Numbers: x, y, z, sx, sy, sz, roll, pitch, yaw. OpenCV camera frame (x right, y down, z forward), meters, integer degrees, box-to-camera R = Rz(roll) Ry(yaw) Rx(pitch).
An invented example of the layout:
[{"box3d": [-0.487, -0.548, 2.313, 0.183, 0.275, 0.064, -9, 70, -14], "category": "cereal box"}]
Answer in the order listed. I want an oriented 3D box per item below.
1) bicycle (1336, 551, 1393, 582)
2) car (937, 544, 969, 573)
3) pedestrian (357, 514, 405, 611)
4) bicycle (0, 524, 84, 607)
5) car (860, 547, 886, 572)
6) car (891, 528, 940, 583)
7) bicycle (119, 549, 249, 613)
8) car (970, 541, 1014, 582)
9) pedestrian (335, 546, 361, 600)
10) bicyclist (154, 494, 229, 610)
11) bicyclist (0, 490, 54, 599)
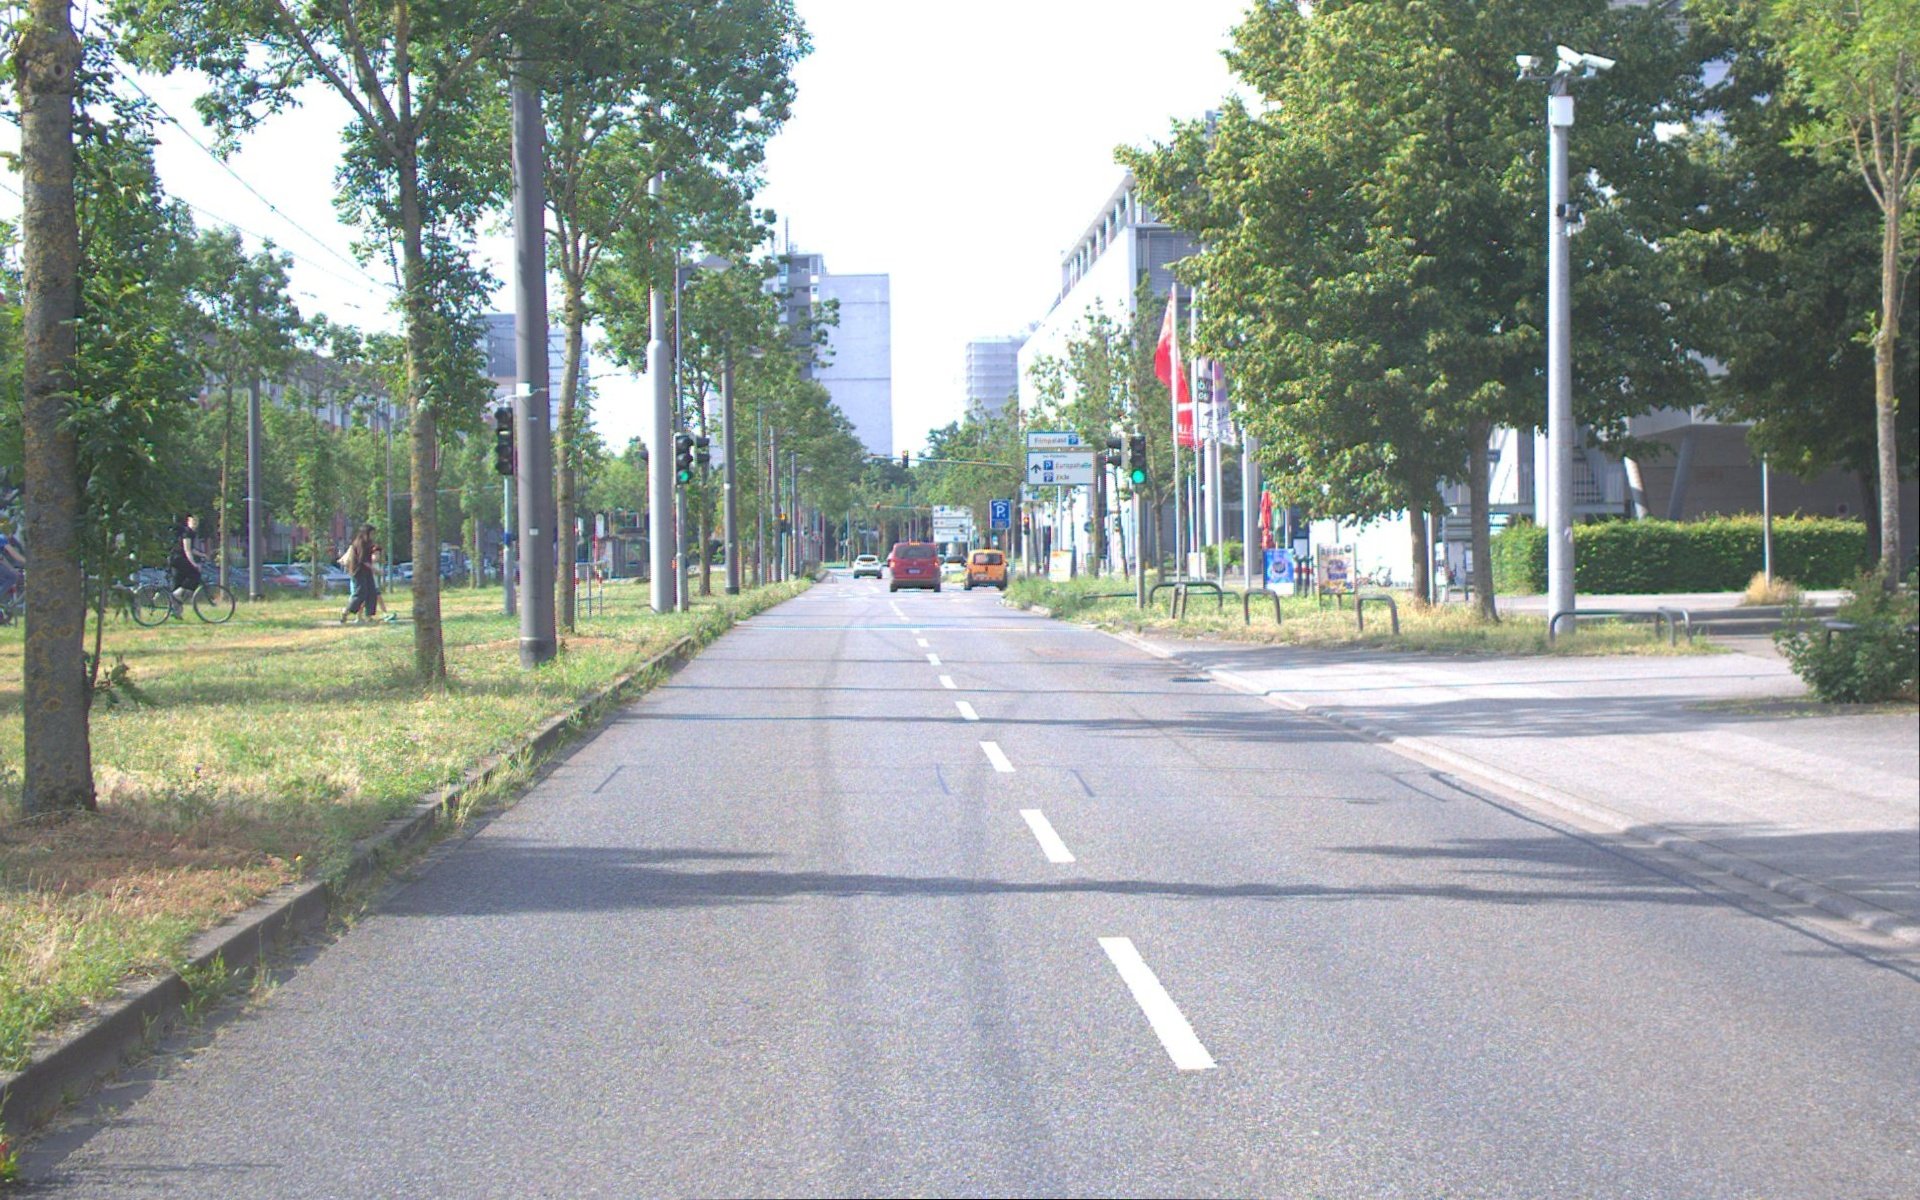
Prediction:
[{"box3d": [12.385, -1.031, 105.267, 1.621, 0.885, 0.551, 1, 1, -3], "category": "bicycle"}, {"box3d": [-0.411, -2.391, 198.250, 1.748, 1.645, 3.216, 2, 1, -1], "category": "car"}, {"box3d": [-9.466, -0.618, 56.218, 0.625, 1.566, 0.711, 1, 1, -1], "category": "pedestrian"}, {"box3d": [-15.512, -0.577, 56.316, 2.066, 1.319, 0.784, 1, 1, -34], "category": "bicycle"}, {"box3d": [-5.921, -2.767, 234.426, 1.748, 1.645, 3.216, 2, 1, -1], "category": "car"}, {"box3d": [-1.685, -1.672, 129.933, 1.748, 2.007, 3.216, 2, 1, -1], "category": "car"}, {"box3d": [-13.138, -0.323, 58.226, 2.065, 1.038, 0.668, 1, 1, -20], "category": "bicycle"}, {"box3d": [1.333, -1.633, 144.149, 1.748, 1.645, 3.216, 2, 1, -1], "category": "car"}, {"box3d": [-10.000, -0.444, 56.179, 0.341, 0.872, 0.461, 1, 1, -1], "category": "pedestrian"}, {"box3d": [-13.041, -0.816, 58.329, 1.146, 1.927, 0.686, 1, 1, -19], "category": "bicyclist"}, {"box3d": [-15.531, -0.910, 56.286, 1.147, 1.756, 0.686, 1, 1, -31], "category": "bicyclist"}]
